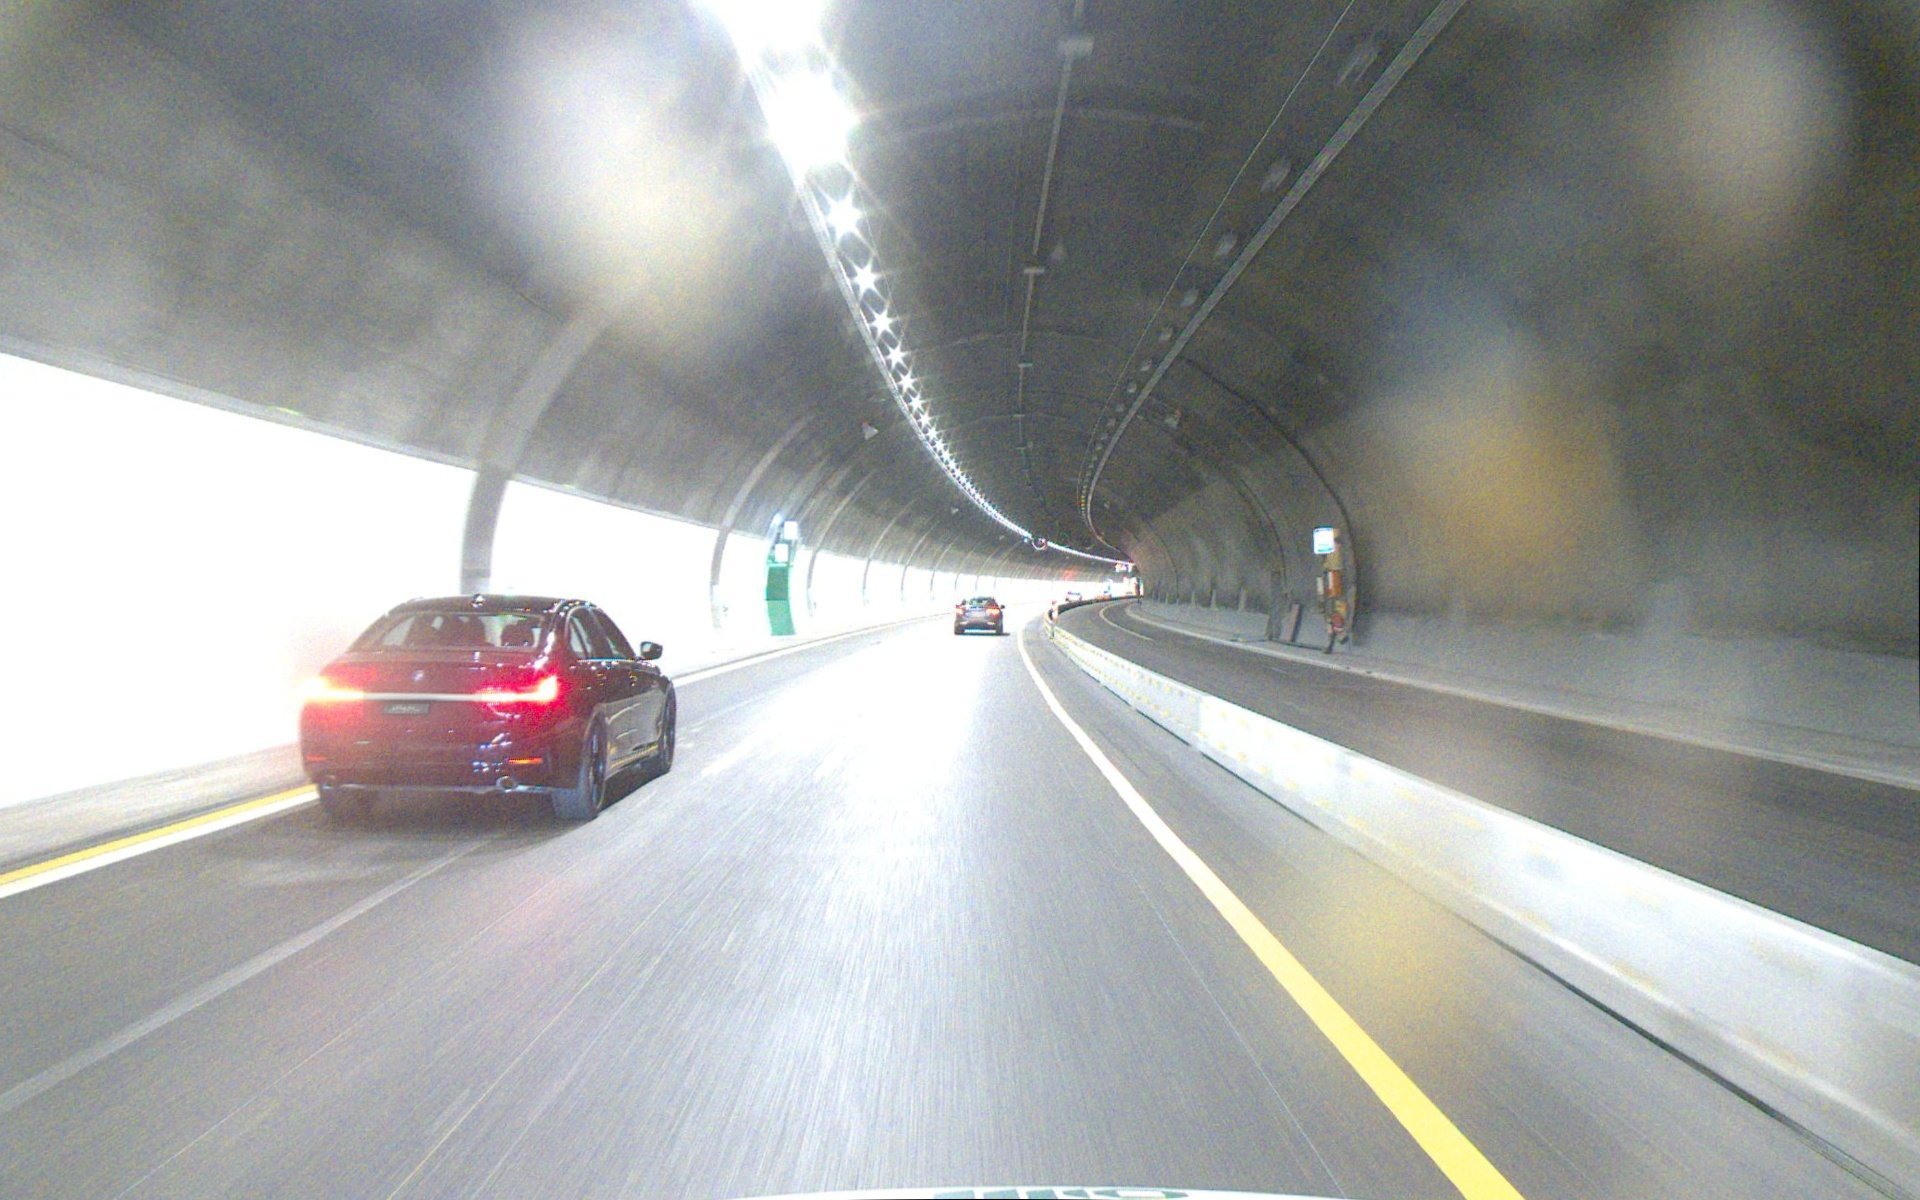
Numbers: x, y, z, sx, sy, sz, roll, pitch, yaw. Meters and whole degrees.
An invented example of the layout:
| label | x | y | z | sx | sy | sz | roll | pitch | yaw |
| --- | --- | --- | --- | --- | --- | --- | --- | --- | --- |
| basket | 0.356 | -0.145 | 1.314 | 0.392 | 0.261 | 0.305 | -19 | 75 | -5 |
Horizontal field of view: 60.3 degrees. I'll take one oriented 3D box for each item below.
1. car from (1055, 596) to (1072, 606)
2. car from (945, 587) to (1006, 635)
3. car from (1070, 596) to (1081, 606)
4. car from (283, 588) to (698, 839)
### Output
| label | x | y | z | sx | sy | sz | roll | pitch | yaw |
| --- | --- | --- | --- | --- | --- | --- | --- | --- | --- |
| car | 16.148 | 0.092 | 257.389 | 2.118 | 1.512 | 4.004 | 1 | 0 | 10 |
| car | 0.630 | 0.400 | 63.173 | 2.096 | 1.735 | 4.002 | 1 | 0 | 4 |
| car | 15.783 | 0.080 | 225.954 | 1.561 | 1.356 | 3.752 | 1 | 0 | 5 |
| car | -3.167 | 0.659 | 12.240 | 1.742 | 1.463 | 4.881 | 1 | 0 | -1 |
